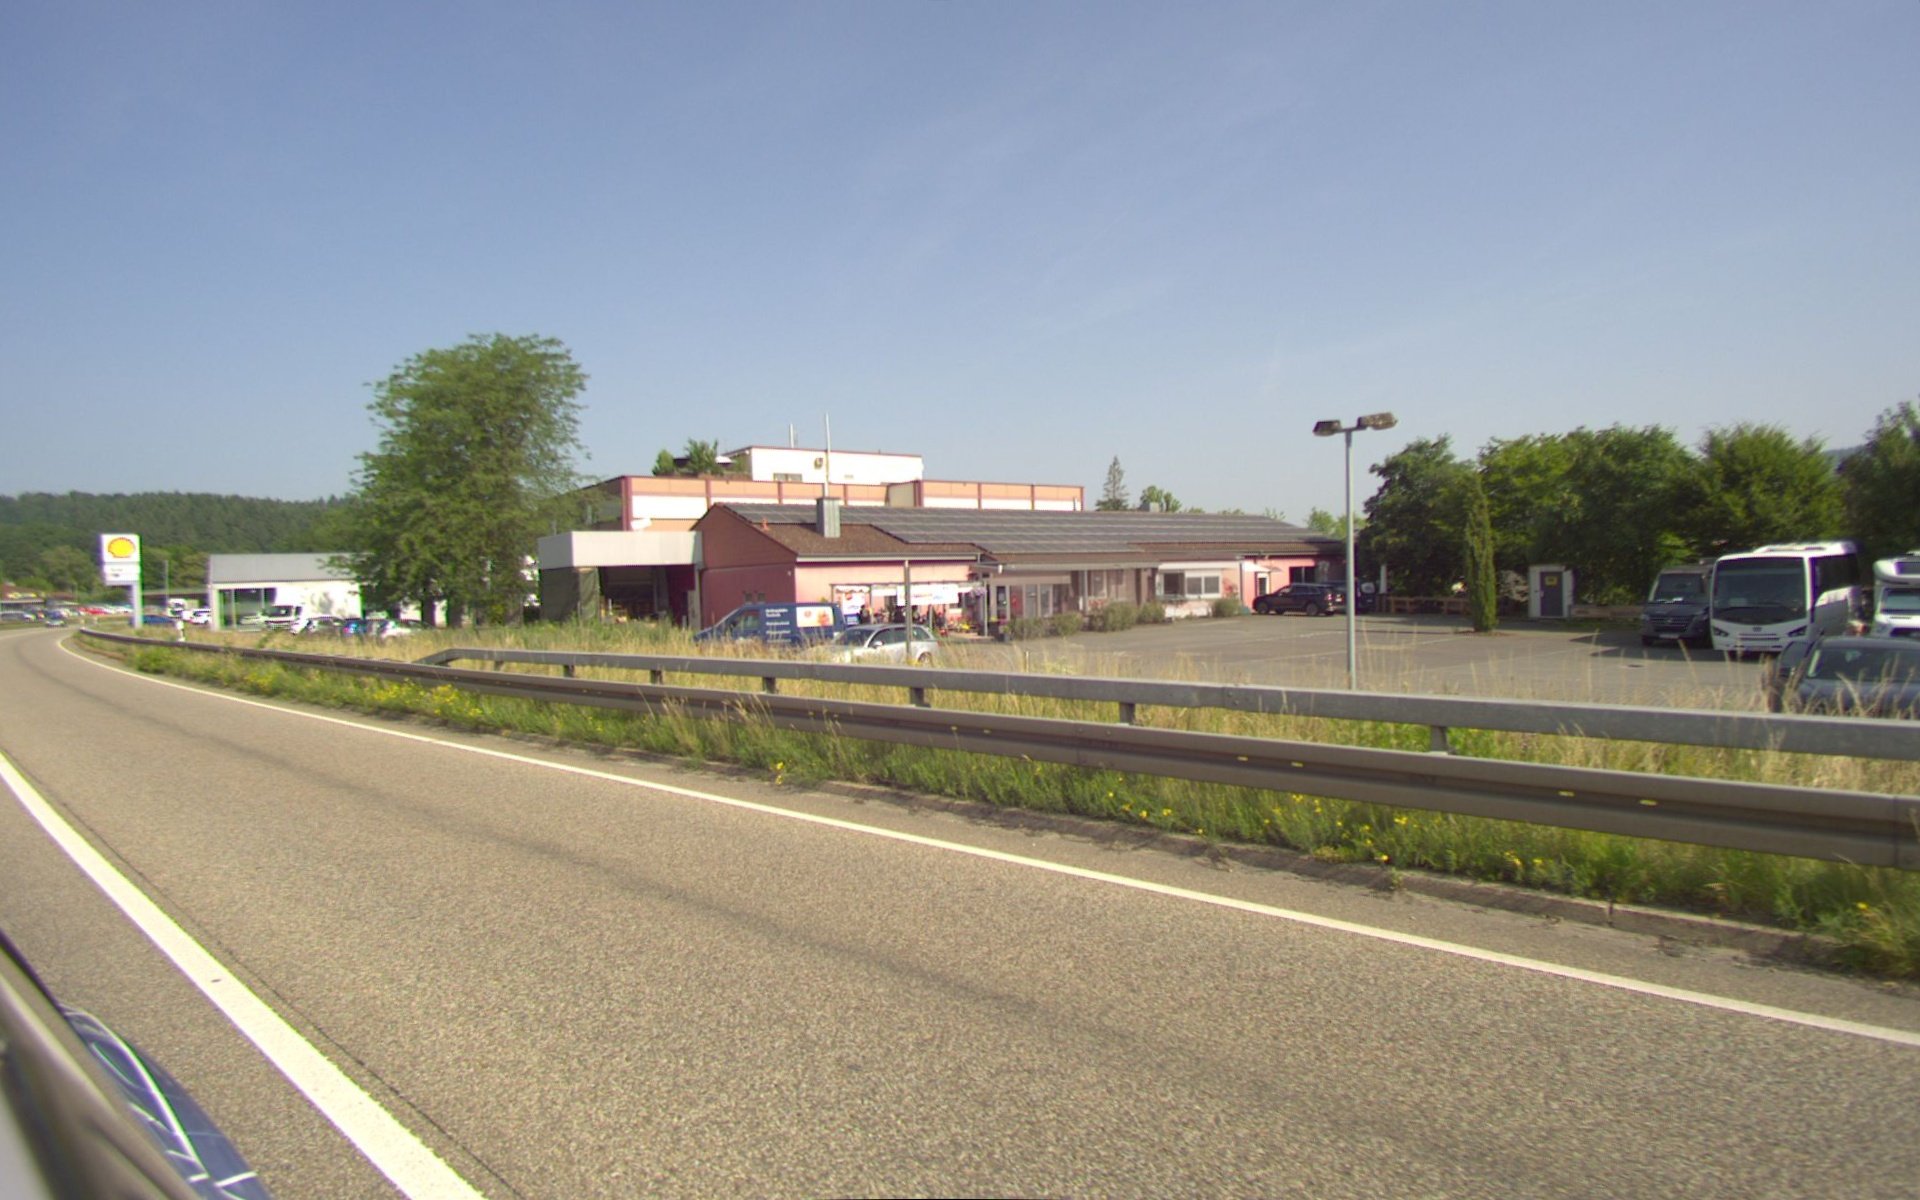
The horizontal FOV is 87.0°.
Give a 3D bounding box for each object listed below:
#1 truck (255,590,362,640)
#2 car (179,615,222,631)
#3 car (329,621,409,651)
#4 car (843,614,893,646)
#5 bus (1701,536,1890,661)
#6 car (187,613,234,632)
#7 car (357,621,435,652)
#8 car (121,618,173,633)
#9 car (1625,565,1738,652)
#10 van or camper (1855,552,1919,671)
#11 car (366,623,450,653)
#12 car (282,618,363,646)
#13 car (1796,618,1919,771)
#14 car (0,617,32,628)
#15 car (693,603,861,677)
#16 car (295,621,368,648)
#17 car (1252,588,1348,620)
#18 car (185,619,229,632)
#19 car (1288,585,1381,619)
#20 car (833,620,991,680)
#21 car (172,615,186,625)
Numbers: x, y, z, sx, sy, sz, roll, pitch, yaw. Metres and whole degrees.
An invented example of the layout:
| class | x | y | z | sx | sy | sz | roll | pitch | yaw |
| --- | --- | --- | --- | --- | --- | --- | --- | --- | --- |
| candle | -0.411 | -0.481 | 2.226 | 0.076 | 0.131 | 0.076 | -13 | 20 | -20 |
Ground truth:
| class | x | y | z | sx | sy | sz | roll | pitch | yaw |
| --- | --- | --- | --- | --- | --- | --- | --- | --- | --- |
| truck | -49.949 | 1.055 | 77.934 | 2.767 | 3.583 | 8.211 | -2 | 1 | 0 |
| car | -103.691 | 3.160 | 138.239 | 4.610 | 1.871 | 2.148 | -3 | 1 | -36 |
| car | -35.046 | 2.120 | 60.042 | 3.703 | 1.511 | 1.934 | -3 | 1 | -44 |
| car | -3.537 | 1.146 | 38.787 | 0.805 | 1.154 | 2.018 | -1 | 1 | -44 |
| bus | 25.797 | -0.154 | 31.040 | 8.985 | 3.380 | 2.669 | -3 | -1 | -40 |
| car | -96.349 | 2.877 | 130.087 | 4.730 | 1.996 | 2.234 | -4 | 1 | -36 |
| car | -32.521 | 2.080 | 58.371 | 3.698 | 1.511 | 1.862 | -2 | 1 | -37 |
| car | -90.343 | 2.849 | 112.538 | 1.966 | 1.518 | 4.214 | -1 | 0 | 14 |
| car | 24.600 | 0.219 | 34.439 | 4.959 | 2.680 | 1.865 | -3 | 1 | -40 |
| van or camper | 26.066 | 0.155 | 26.529 | 7.302 | 2.863 | 2.752 | -3 | 1 | -40 |
| car | -30.425 | 2.077 | 55.819 | 3.703 | 1.471 | 1.863 | -1 | 0 | -44 |
| car | -43.053 | 2.135 | 68.417 | 1.933 | 1.667 | 4.301 | -1 | 1 | 44 |
| car | 12.394 | 1.133 | 13.481 | 1.873 | 1.678 | 4.256 | -1 | 0 | 40 |
| car | -140.206 | 3.333 | 149.719 | 3.931 | 1.644 | 1.927 | -1 | 0 | -26 |
| car | -5.538 | 1.170 | 30.708 | 4.825 | 2.029 | 2.004 | -1 | 0 | -11 |
| car | -41.159 | 2.243 | 66.353 | 1.933 | 1.511 | 3.705 | -1 | 1 | 44 |
| car | 18.162 | 0.237 | 54.213 | 1.715 | 1.620 | 4.640 | -1 | 0 | -38 |
| car | -93.392 | 3.178 | 125.588 | 1.879 | 1.413 | 4.212 | -1 | 1 | 14 |
| car | 20.766 | 0.128 | 56.270 | 1.715 | 1.770 | 4.640 | -1 | 0 | -38 |
| car | -1.220 | 1.306 | 27.954 | 1.741 | 1.392 | 4.570 | -2 | 0 | 39 |
| car | -155.180 | 3.893 | 201.076 | 1.889 | 1.899 | 4.922 | 0 | -1 | -36 |
